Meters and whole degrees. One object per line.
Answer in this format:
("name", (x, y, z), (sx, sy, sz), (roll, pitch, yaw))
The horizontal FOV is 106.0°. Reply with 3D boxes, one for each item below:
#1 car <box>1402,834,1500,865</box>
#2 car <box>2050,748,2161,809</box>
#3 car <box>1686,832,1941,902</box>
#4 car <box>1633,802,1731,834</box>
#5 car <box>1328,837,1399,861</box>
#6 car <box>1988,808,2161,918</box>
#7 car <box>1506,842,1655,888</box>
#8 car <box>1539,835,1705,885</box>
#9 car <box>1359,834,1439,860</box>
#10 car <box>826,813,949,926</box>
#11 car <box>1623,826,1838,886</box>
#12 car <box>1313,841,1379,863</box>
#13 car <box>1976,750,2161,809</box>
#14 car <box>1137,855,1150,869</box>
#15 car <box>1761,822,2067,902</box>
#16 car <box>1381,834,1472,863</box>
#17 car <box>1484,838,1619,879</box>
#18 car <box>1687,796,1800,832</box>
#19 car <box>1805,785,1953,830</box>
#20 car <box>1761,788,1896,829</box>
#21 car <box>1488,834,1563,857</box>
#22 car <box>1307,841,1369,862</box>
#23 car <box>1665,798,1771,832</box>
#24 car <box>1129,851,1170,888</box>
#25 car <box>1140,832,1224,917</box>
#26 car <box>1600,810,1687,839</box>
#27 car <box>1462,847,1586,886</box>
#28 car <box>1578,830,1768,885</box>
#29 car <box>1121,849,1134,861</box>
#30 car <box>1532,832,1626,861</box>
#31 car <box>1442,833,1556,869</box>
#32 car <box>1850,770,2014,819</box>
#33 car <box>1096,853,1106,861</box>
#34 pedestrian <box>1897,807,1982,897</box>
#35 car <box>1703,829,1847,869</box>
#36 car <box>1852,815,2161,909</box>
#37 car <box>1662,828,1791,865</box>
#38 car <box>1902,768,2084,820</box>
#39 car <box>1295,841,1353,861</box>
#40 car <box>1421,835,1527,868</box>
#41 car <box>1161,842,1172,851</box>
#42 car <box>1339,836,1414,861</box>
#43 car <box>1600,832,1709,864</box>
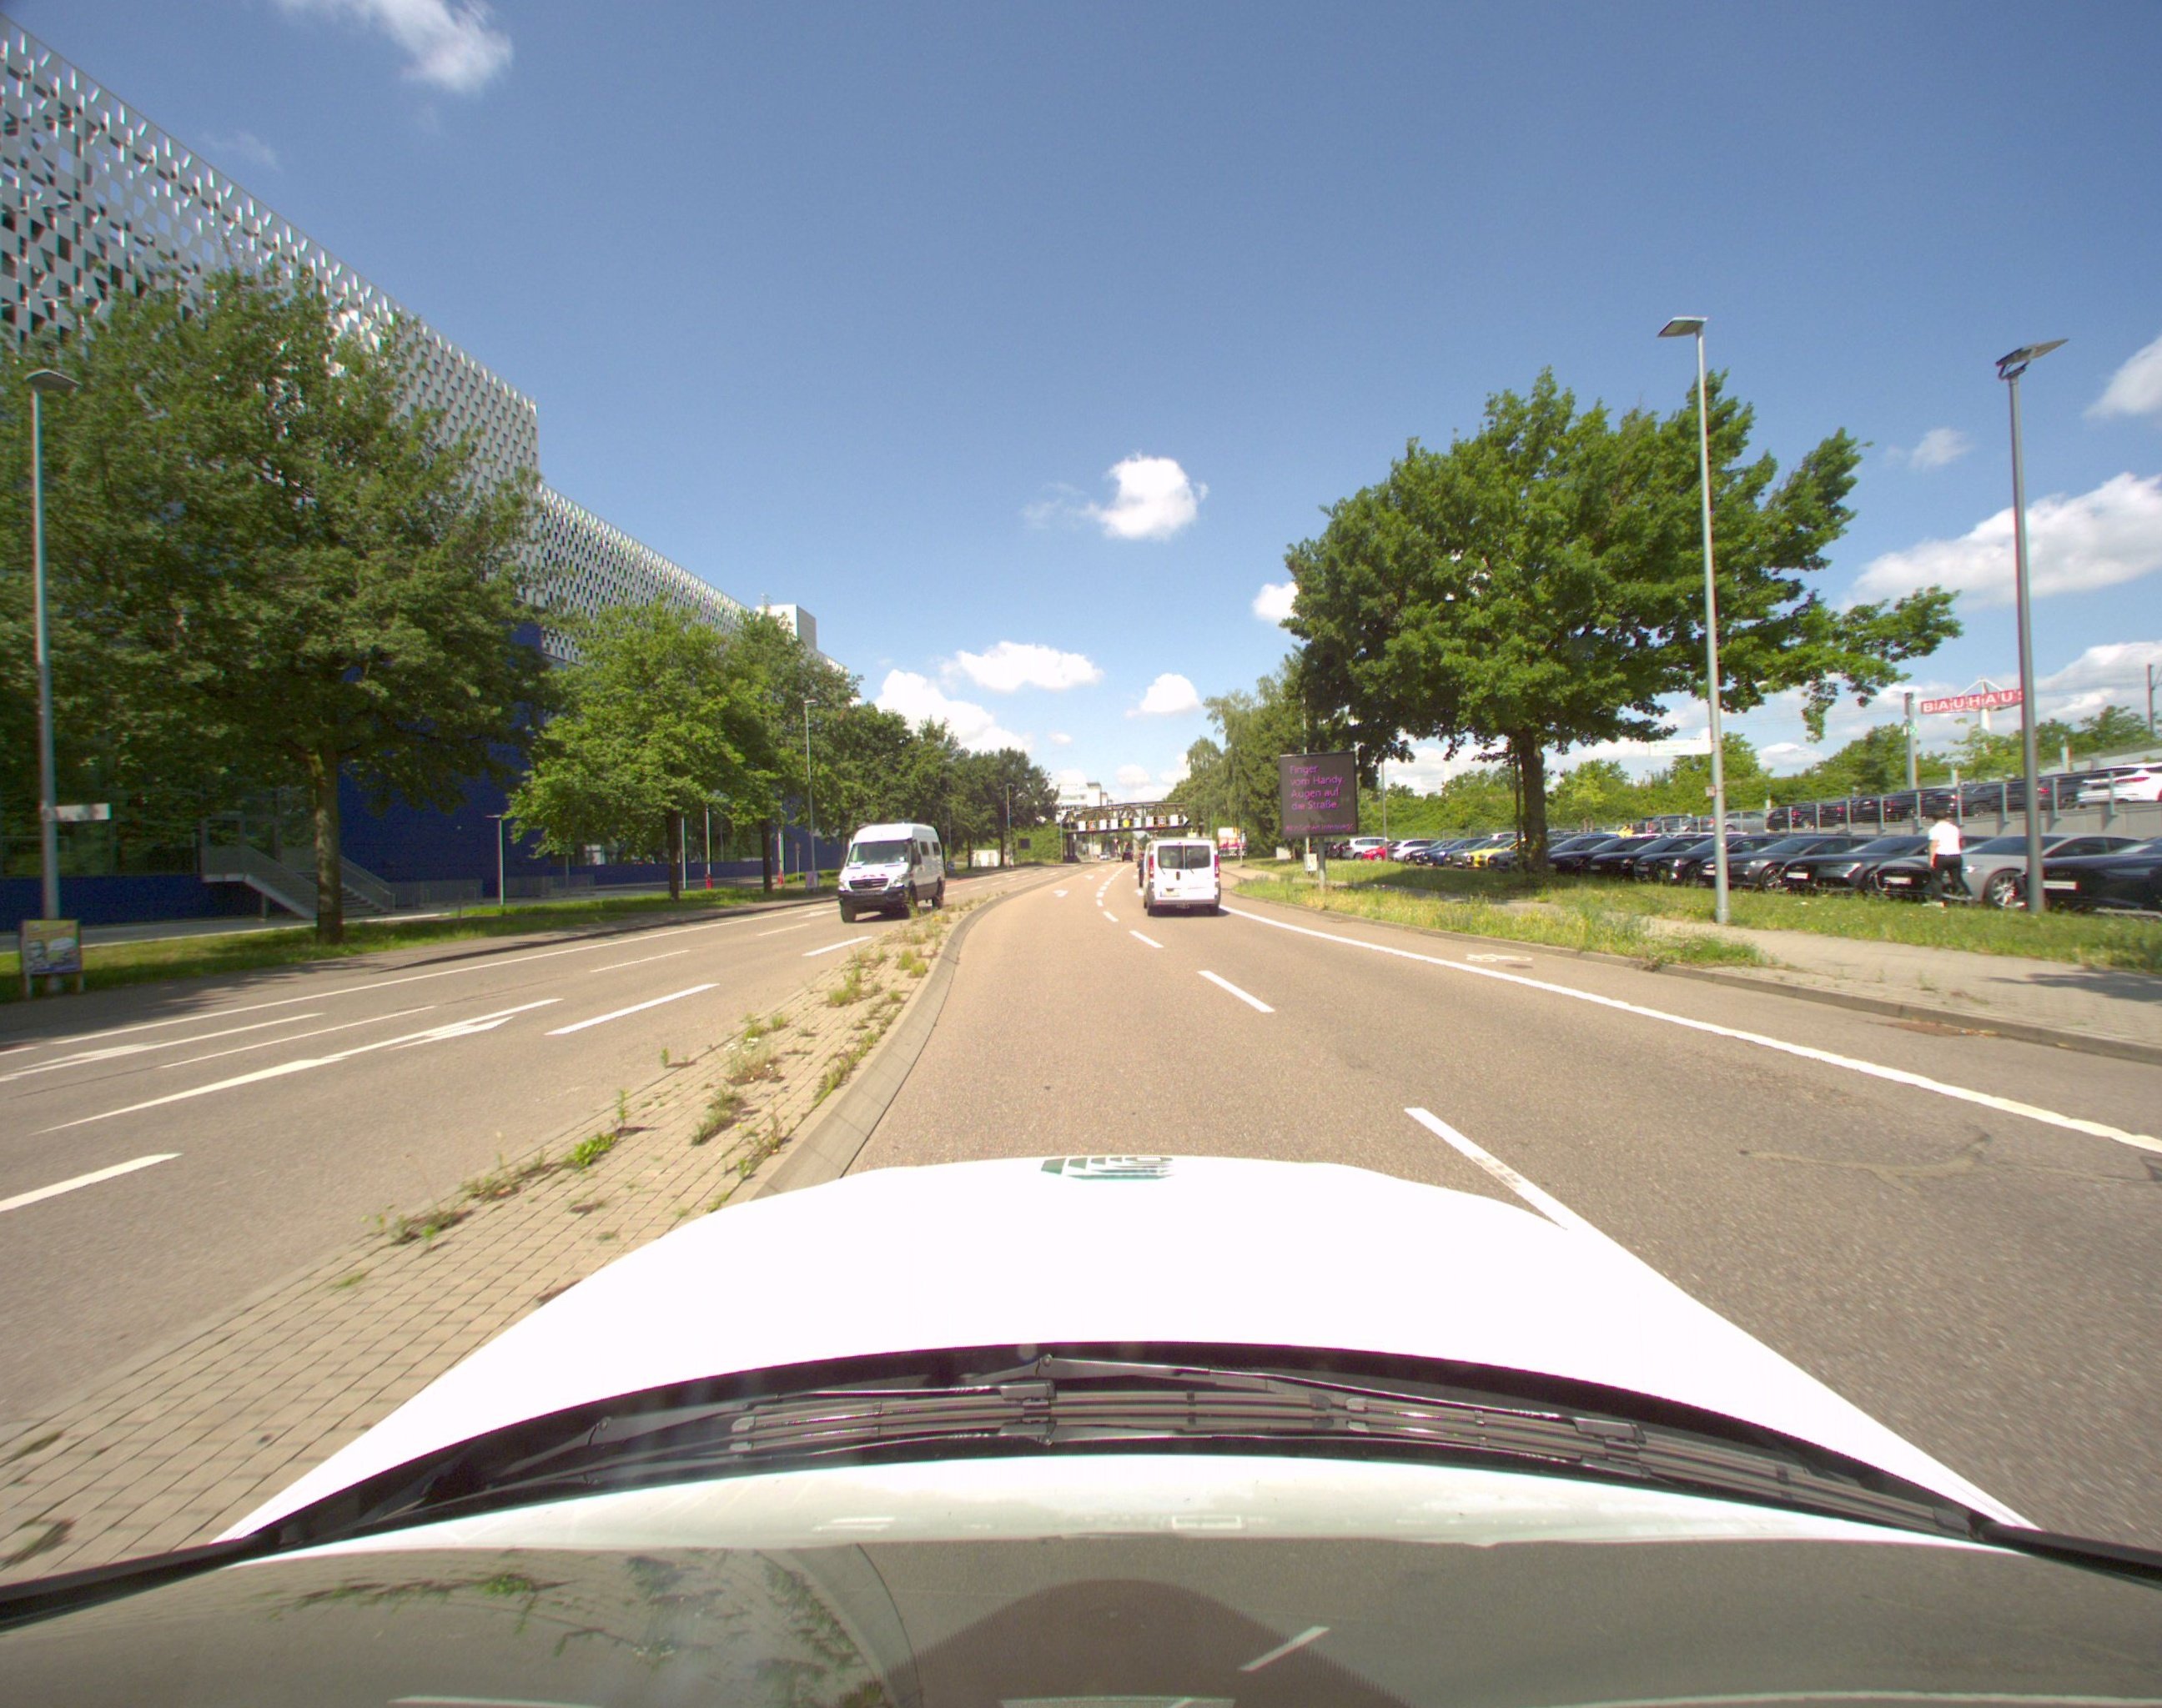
("car", (19.541, -0.256, 43.113), (4.337, 1.512, 1.938), (-1, 2, 3))
("car", (33.607, -2.351, 25.306), (4.331, 1.774, 1.940), (-1, 2, 7))
("car", (17.447, 0.270, 19.592), (4.337, 1.512, 1.938), (-1, 2, 3))
("car", (35.817, -2.127, 48.652), (4.331, 1.774, 1.940), (-1, 2, 7))
("car", (19.650, -0.364, 56.732), (4.337, 1.512, 1.938), (-1, 2, 3))
("car", (16.761, 0.062, 12.057), (4.334, 1.512, 1.914), (-1, 2, 5))
("car", (18.376, 0.382, 30.130), (4.337, 1.512, 1.938), (-1, 2, 3))
("car", (18.175, 0.179, 27.517), (4.337, 1.512, 1.938), (-1, 2, 3))
("car", (20.113, -0.435, 51.656), (4.337, 1.512, 1.938), (-1, 2, 3))
("car", (-5.601, 0.403, 24.580), (2.016, 2.893, 6.382), (-2, 0, 0))
("car", (17.740, 0.025, 22.414), (4.337, 1.512, 1.938), (-1, 2, 3))
("car", (19.780, -0.196, 60.989), (4.337, 1.512, 1.938), (-1, 2, 3))
("car", (33.770, -2.501, 27.674), (4.331, 1.774, 1.940), (-1, 2, 7))
("car", (9.793, 1.212, 126.998), (1.984, 2.013, 4.006), (-2, 0, 5))
("car", (17.251, 0.130, 17.060), (4.337, 1.512, 1.938), (-1, 2, 3))
("car", (19.361, -0.317, 45.748), (4.337, 1.512, 1.938), (-1, 2, 3))
("car", (18.855, 0.158, 32.795), (4.337, 1.512, 1.938), (-1, 2, 3))
("car", (35.111, -2.081, 43.262), (4.331, 1.774, 1.940), (-1, 2, 7))
("car", (34.518, -1.996, 35.345), (4.331, 1.774, 1.940), (-1, 2, 7))
("car", (34.757, -2.107, 37.958), (4.331, 1.774, 1.940), (-1, 2, 7))
("car", (31.993, -0.586, 58.658), (4.327, 1.499, 1.909), (-2, 0, 4))
("car", (20.384, -0.216, 64.788), (4.337, 1.512, 1.938), (-1, 2, 3))
("car", (35.668, -2.171, 45.720), (4.331, 1.774, 1.940), (-1, 2, 7))
("car", (3.365, 0.725, 40.713), (1.767, 1.629, 4.001), (-2, 1, 1))
("car", (2.692, 0.461, 22.629), (1.965, 2.059, 4.569), (-2, 1, 3))
("car", (36.857, -1.918, 53.472), (4.331, 1.774, 1.940), (-1, 2, 7))
("car", (19.102, 0.520, 35.237), (4.337, 1.512, 1.938), (-1, 2, 3))
("car", (17.828, 0.089, 24.687), (4.337, 1.512, 1.938), (-1, 2, 3))
("car", (7.836, 0.134, 138.348), (1.984, 1.771, 4.007), (-1, 2, 6))
("car", (29.287, -0.419, 48.000), (4.327, 1.499, 1.909), (-2, 0, 4))
("car", (19.352, -0.149, 37.839), (4.337, 1.512, 1.938), (-1, 2, 3))
("car", (34.176, -2.367, 32.810), (4.331, 1.774, 1.940), (-1, 2, 7))
("car", (4.852, 0.766, 200.470), (1.983, 2.013, 4.008), (-2, 0, 7))
("pedestrian", (14.457, -0.044, 13.731), (0.630, 1.459, 0.773), (-1, 2, 3))
("car", (29.324, -0.209, 34.529), (4.327, 1.499, 1.909), (-2, 0, 4))
("car", (16.970, 0.104, 14.627), (4.337, 1.512, 1.938), (-1, 2, 3))
("car", (29.768, -0.347, 37.653), (4.327, 1.499, 1.909), (-2, 0, 4))
("car", (34.039, -2.217, 30.523), (4.331, 1.774, 1.940), (-1, 2, 7))
("car", (20.234, -0.286, 67.925), (4.337, 1.512, 1.938), (-1, 2, 3))
("car", (19.381, -0.135, 40.306), (4.337, 1.512, 1.938), (-1, 2, 3))
("car", (22.631, -1.964, 215.873), (2.364, 2.475, 4.775), (-2, 0, 10))
("car", (19.584, -0.360, 54.150), (4.337, 1.512, 1.938), (-1, 2, 3))
("car", (30.249, -0.326, 43.024), (4.327, 1.499, 1.909), (-2, 0, 4))
